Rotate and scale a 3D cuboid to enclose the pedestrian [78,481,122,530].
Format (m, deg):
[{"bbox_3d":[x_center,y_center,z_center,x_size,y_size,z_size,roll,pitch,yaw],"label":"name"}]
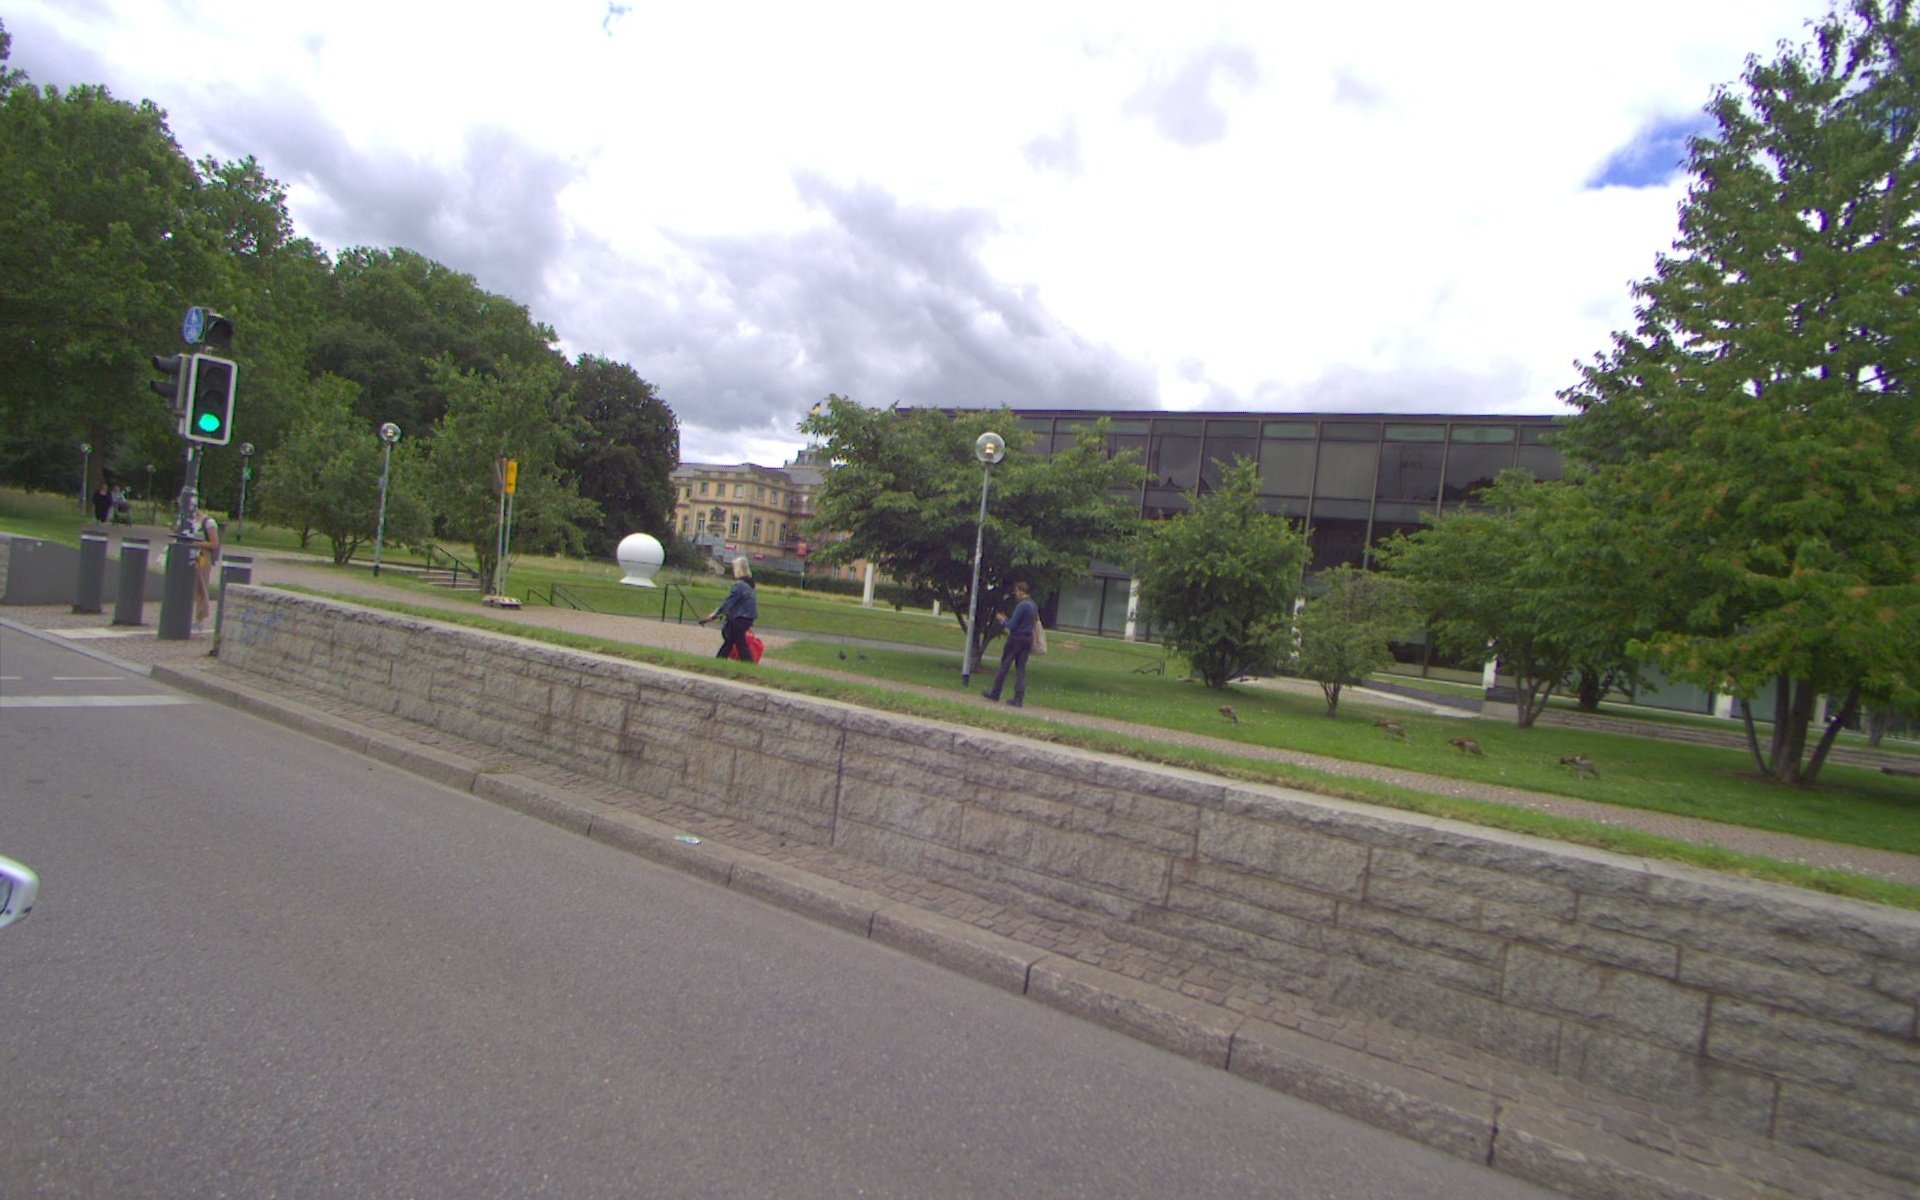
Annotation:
[{"bbox_3d":[-33.769,-3.709,39.503,0.952,1.752,0.898,7,-2,31],"label":"pedestrian"}]

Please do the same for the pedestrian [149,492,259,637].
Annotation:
[{"bbox_3d":[-9.384,-0.435,12.498,0.672,1.674,0.699,6,-2,30],"label":"pedestrian"}]

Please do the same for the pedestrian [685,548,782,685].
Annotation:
[{"bbox_3d":[-2.824,0.199,12.508,0.680,1.582,0.897,6,1,-42],"label":"pedestrian"}]

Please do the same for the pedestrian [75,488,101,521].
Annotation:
[{"bbox_3d":[-38.229,-4.171,44.120,0.533,1.339,0.583,5,-2,31],"label":"pedestrian"}]

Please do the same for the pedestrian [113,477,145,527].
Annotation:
[{"bbox_3d":[-35.822,-4.216,43.372,0.917,2.036,0.571,6,-2,31],"label":"pedestrian"}]

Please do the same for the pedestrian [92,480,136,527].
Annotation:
[{"bbox_3d":[-36.913,-4.208,43.894,1.013,1.857,0.999,6,-2,31],"label":"pedestrian"}]

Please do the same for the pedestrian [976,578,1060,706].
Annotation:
[{"bbox_3d":[0.792,0.575,13.668,0.617,1.647,0.801,7,1,38],"label":"pedestrian"}]
